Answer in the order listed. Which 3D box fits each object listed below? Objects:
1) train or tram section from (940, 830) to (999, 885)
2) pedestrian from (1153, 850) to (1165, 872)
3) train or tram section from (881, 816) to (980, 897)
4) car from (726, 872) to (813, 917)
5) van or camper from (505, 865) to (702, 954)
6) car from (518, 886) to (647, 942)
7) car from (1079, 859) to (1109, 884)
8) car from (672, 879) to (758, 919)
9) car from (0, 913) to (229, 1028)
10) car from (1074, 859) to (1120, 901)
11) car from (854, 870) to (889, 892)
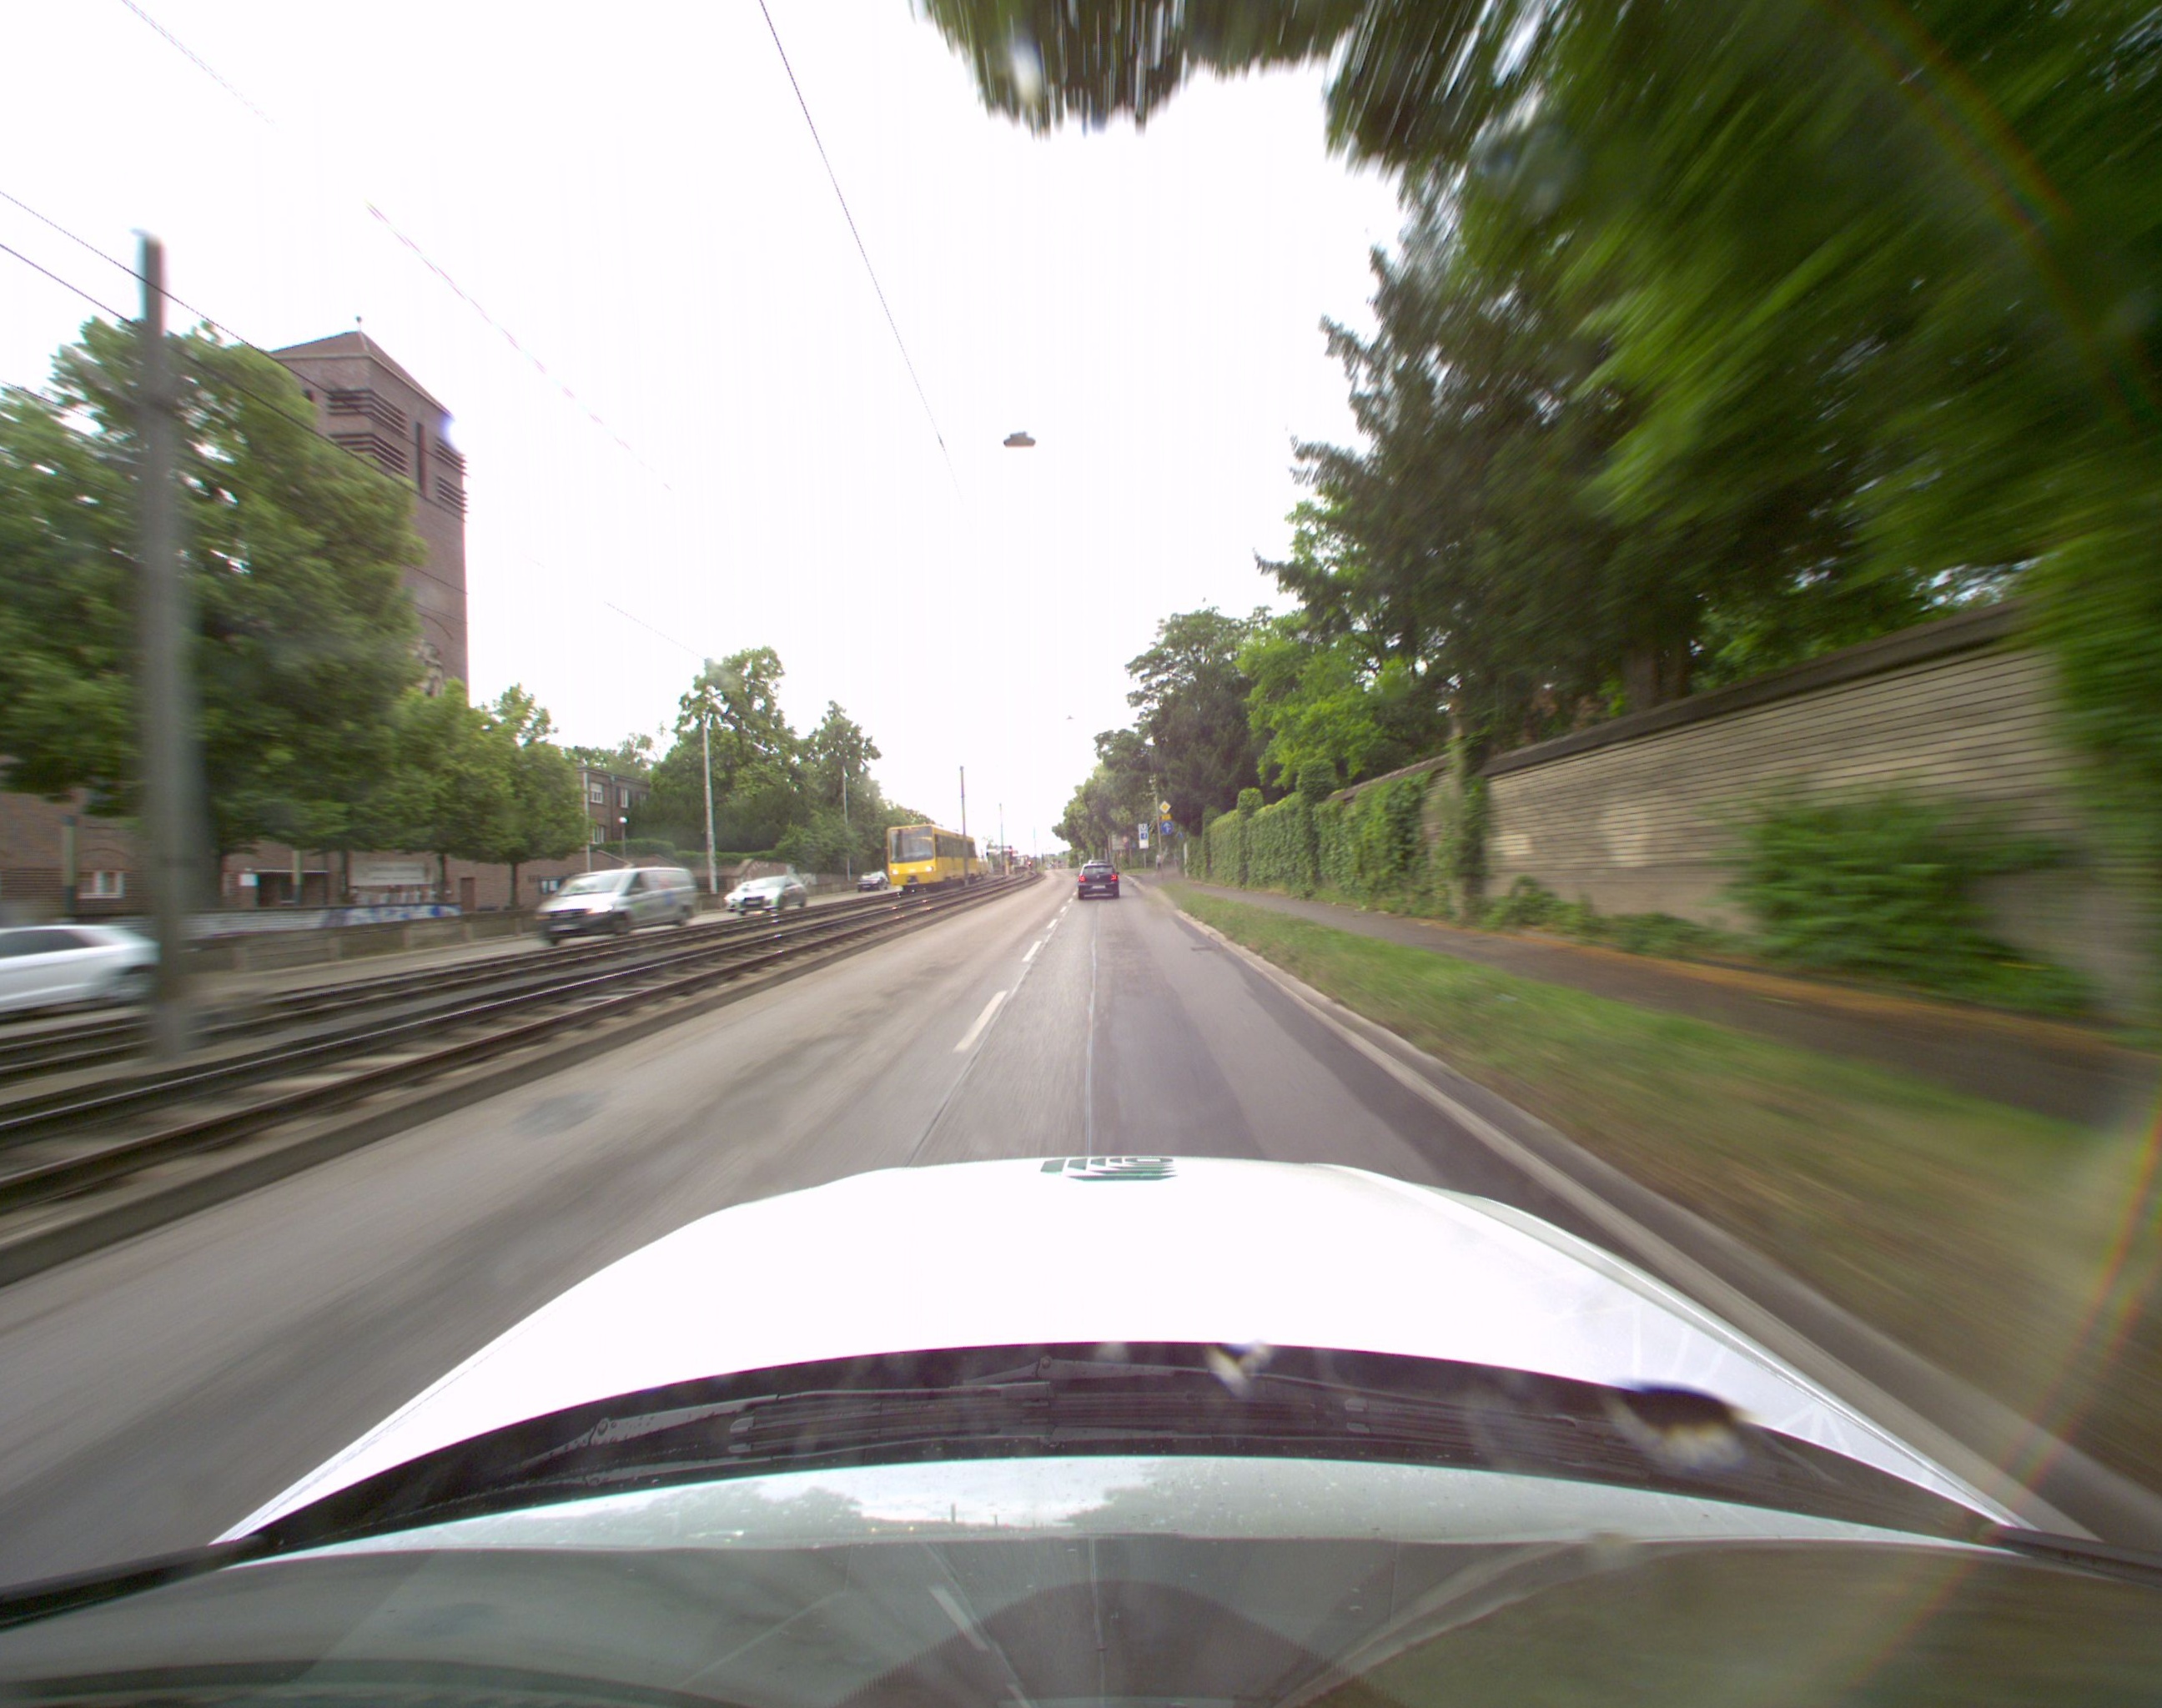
[{"bbox_3d":[-9.262,0.354,70.249,2.820,3.976,17.865,-3,0,-1],"label":"train or tram section"},{"bbox_3d":[6.728,0.646,70.377,0.852,1.854,0.737,-2,-1,1],"label":"pedestrian"},{"bbox_3d":[-8.876,0.218,51.401,2.820,3.976,20.014,-3,0,-1],"label":"train or tram section"},{"bbox_3d":[-12.394,1.563,32.744,1.782,1.532,4.502,-3,0,-1],"label":"car"},{"bbox_3d":[-12.467,1.333,21.850,1.908,1.959,5.691,-3,0,-1],"label":"van or camper"},{"bbox_3d":[-16.036,1.869,26.473,1.742,1.468,3.983,-3,0,-1],"label":"car"},{"bbox_3d":[0.822,1.106,53.758,1.683,1.517,3.996,-3,0,-2],"label":"car"},{"bbox_3d":[-16.239,1.954,36.355,1.682,1.467,4.478,-5,0,0],"label":"car"},{"bbox_3d":[-16.143,1.828,12.409,1.683,1.417,4.360,-5,0,-1],"label":"car"},{"bbox_3d":[0.707,1.042,33.807,1.720,1.540,4.002,-3,0,2],"label":"car"},{"bbox_3d":[-15.902,2.005,61.947,1.683,1.468,3.915,-3,0,-1],"label":"car"}]
